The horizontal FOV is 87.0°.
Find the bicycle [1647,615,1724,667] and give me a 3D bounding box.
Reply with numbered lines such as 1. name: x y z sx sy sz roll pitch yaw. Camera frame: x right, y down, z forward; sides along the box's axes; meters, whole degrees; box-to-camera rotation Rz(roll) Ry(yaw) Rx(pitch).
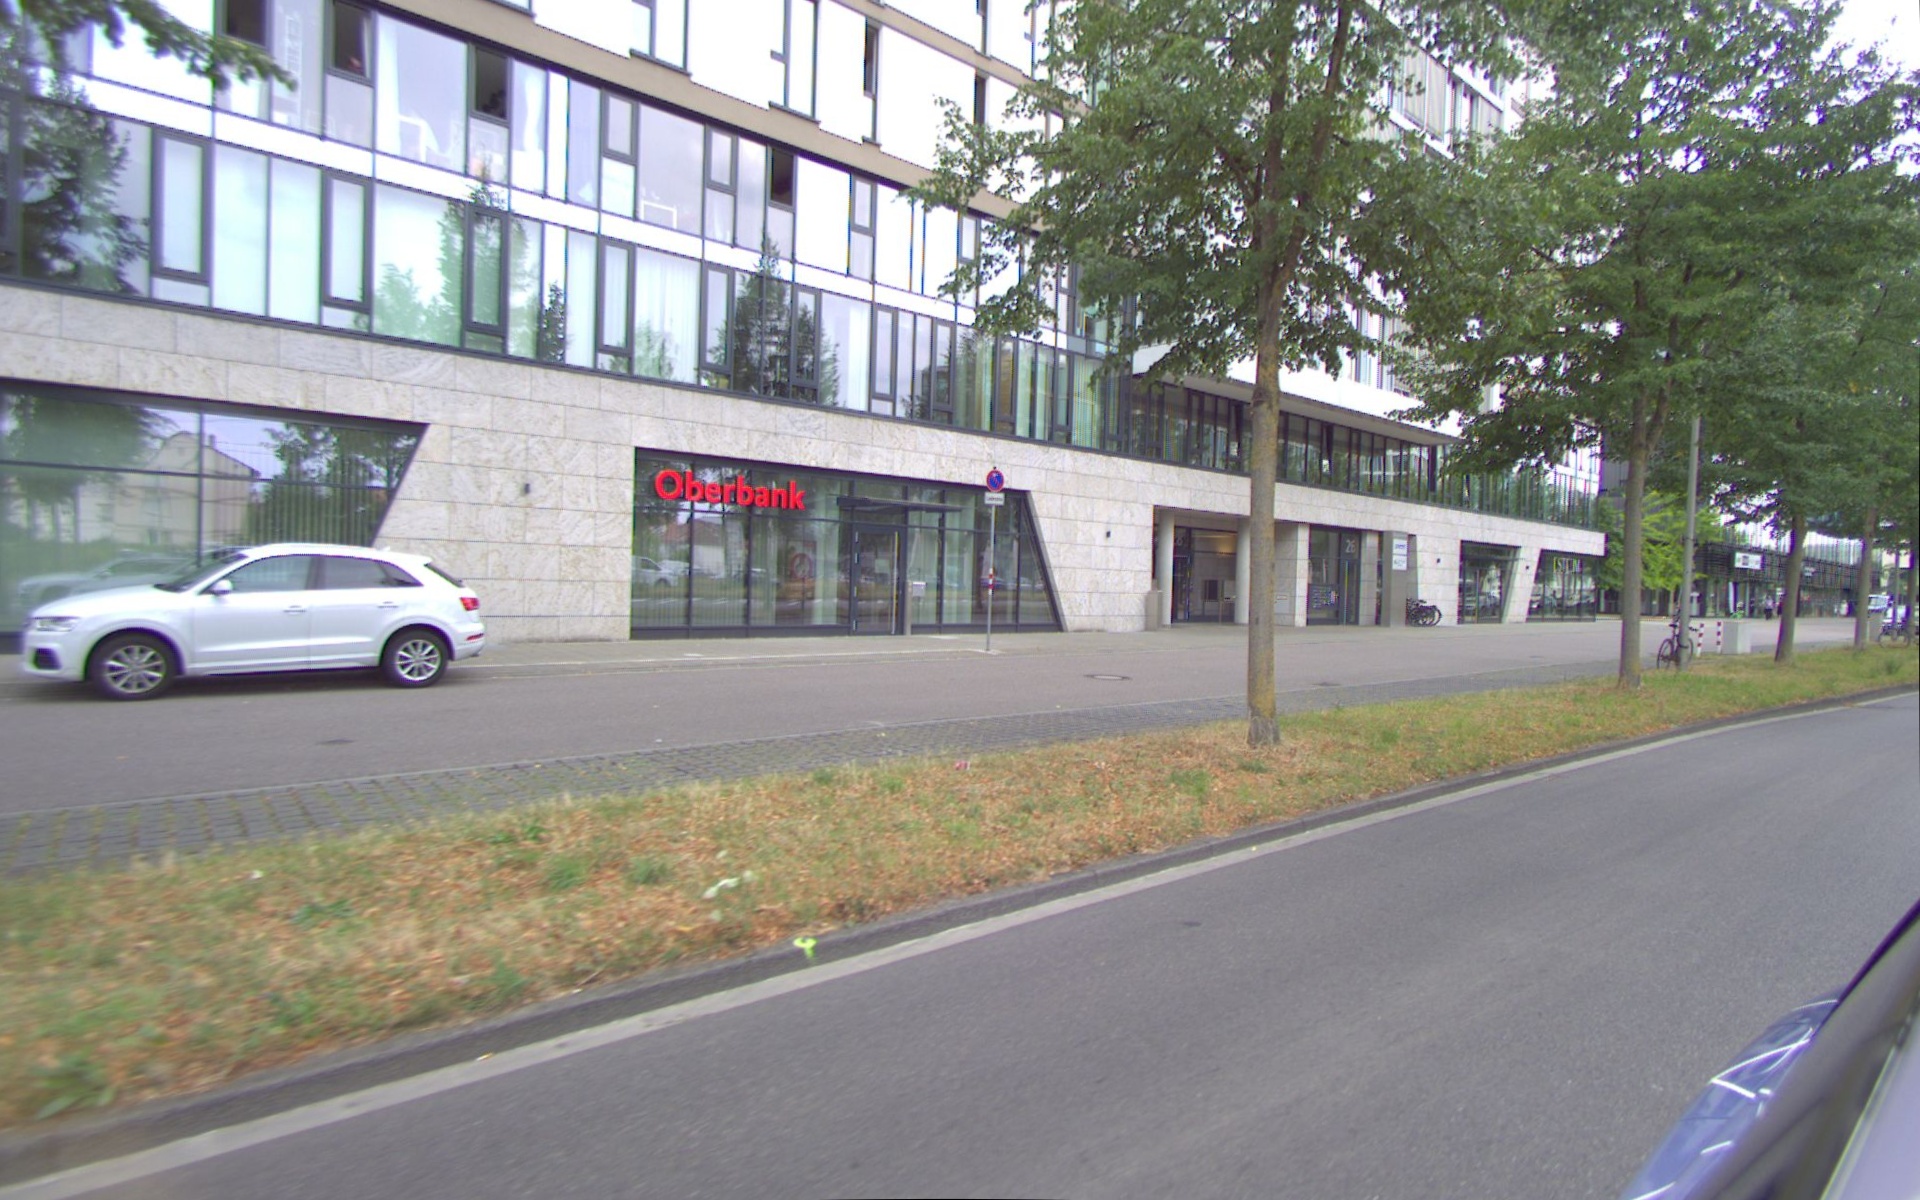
1. bicycle: 13.789 0.755 19.218 2.077 0.887 0.634 0 0 -39

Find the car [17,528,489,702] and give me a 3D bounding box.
1. car: -7.898 0.098 11.623 4.165 1.607 1.862 0 4 -40

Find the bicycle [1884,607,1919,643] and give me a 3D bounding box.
1. bicycle: 28.445 0.762 29.778 1.778 1.032 0.417 2 1 36

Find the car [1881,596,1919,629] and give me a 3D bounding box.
1. car: 47.410 0.607 50.331 3.930 1.549 1.953 0 2 -41

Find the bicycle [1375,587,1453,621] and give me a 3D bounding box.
1. bicycle: 17.080 0.138 38.070 2.418 1.191 1.184 3 2 43

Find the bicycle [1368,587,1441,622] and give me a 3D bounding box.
1. bicycle: 16.295 0.149 37.129 2.231 1.191 0.961 2 2 43
